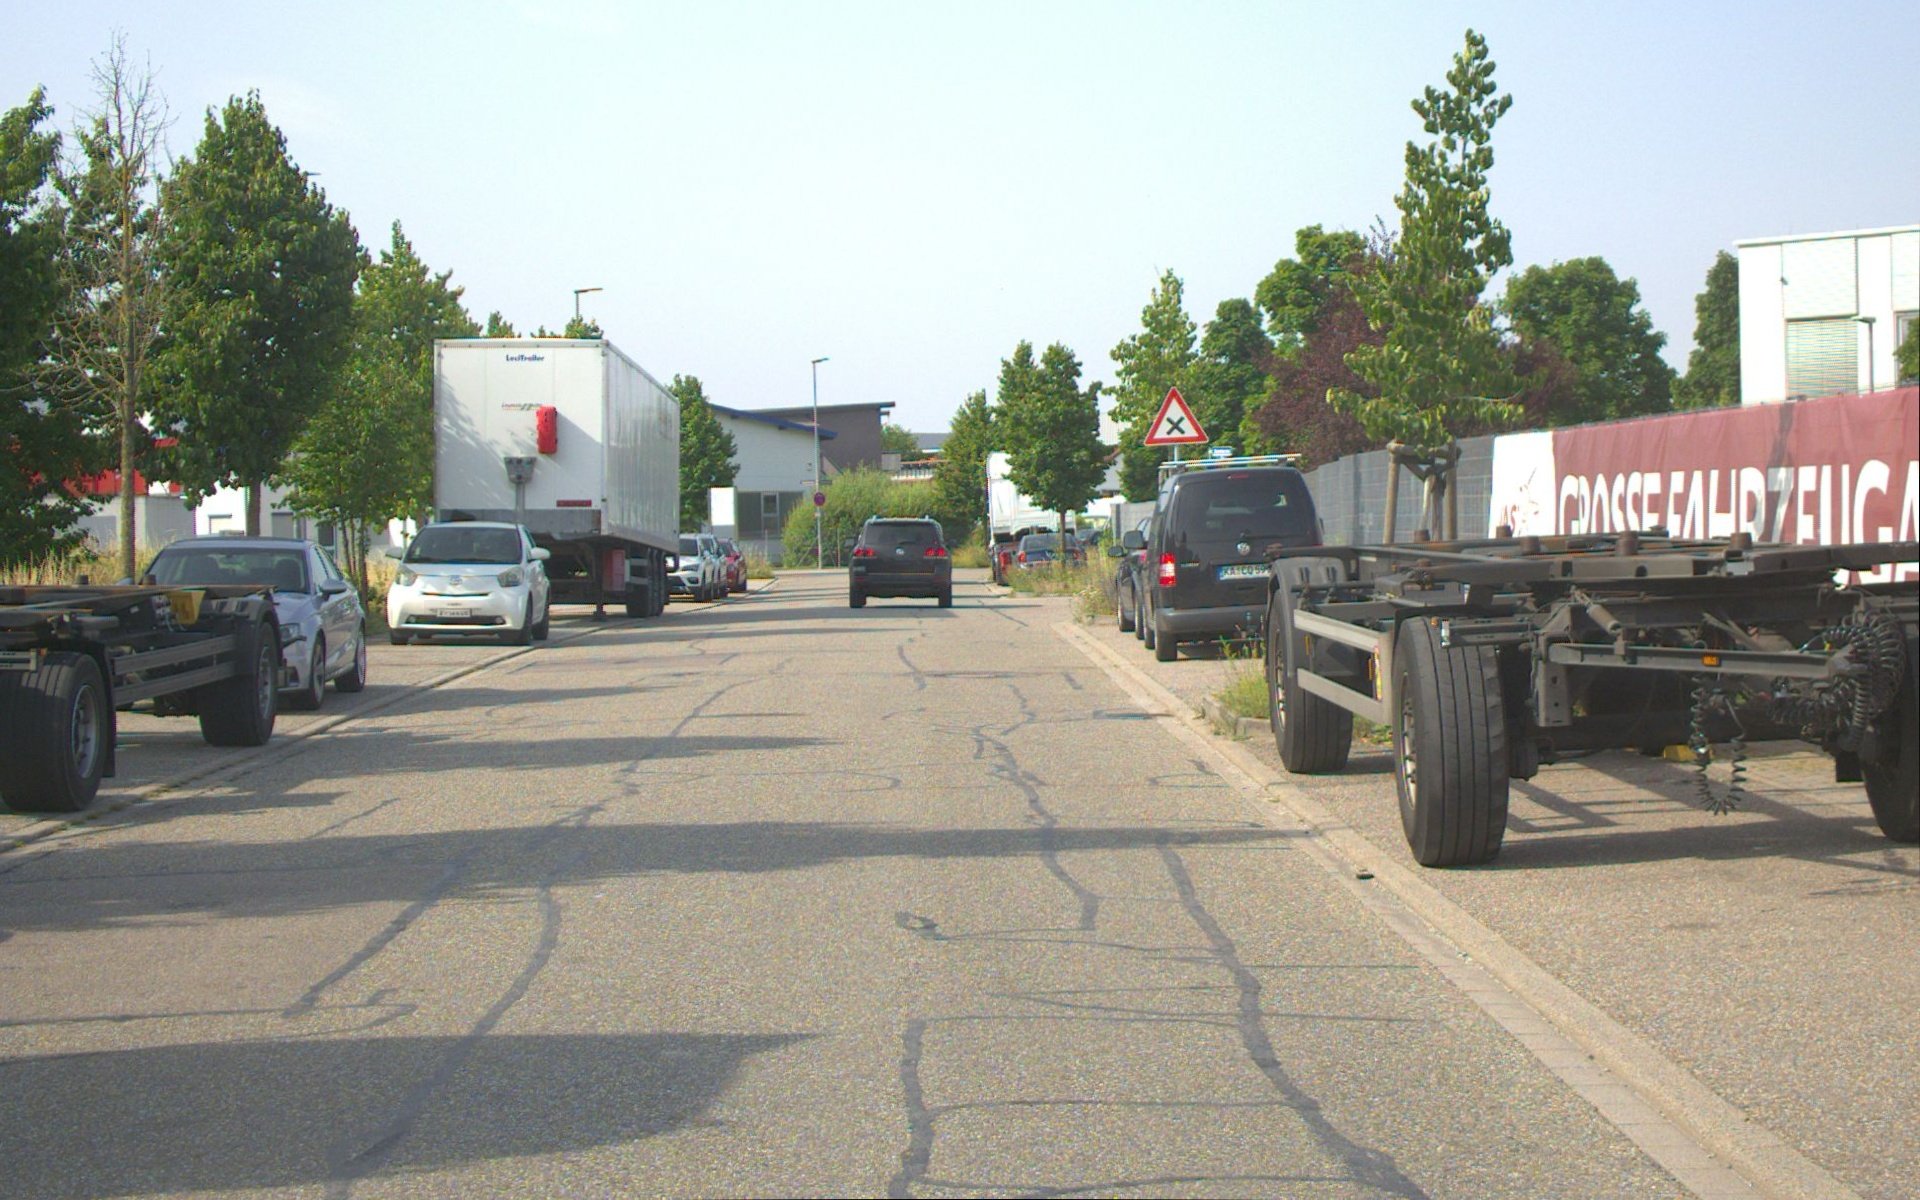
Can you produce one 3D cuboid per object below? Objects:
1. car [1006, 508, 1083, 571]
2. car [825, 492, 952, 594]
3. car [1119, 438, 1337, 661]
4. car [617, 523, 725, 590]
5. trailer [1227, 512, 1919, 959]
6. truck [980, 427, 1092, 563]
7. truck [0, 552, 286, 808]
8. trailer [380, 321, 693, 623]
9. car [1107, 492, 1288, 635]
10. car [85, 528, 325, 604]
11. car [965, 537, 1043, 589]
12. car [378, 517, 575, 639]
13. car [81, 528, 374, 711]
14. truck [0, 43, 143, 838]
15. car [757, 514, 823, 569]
[{"bbox_3d":[2.103,-1.525,85.739,1.818,1.444,3.801,-2,2,1],"label":"car"},{"bbox_3d":[-1.374,-1.102,64.391,1.993,1.798,4.001,-1,2,-6],"label":"car"},{"bbox_3d":[2.614,-0.544,34.315,1.818,1.971,4.000,-4,2,1],"label":"car"},{"bbox_3d":[-6.855,-1.048,81.898,1.994,1.517,4.000,-1,1,3],"label":"car"},{"bbox_3d":[3.032,0.339,16.343,2.623,1.383,9.455,-3,1,-1],"label":"trailer"},{"bbox_3d":[2.143,-2.925,96.607,2.887,3.574,8.062,-2,1,1],"label":"truck"},{"bbox_3d":[-6.087,0.401,21.549,2.524,1.261,6.527,-1,2,-1],"label":"truck"},{"bbox_3d":[-6.703,-2.022,56.975,3.403,4.325,13.920,-1,1,0],"label":"trailer"},{"bbox_3d":[2.700,-0.463,39.818,1.818,1.444,3.801,-4,2,1],"label":"car"},{"bbox_3d":[-13.878,-0.632,63.257,3.988,1.335,1.617,-1,2,7],"label":"car"},{"bbox_3d":[1.583,-1.330,121.218,1.994,1.766,3.998,0,1,12],"label":"car"},{"bbox_3d":[-5.973,-0.308,42.864,1.810,1.422,4.000,-1,1,1],"label":"car"},{"bbox_3d":[-6.209,0.114,29.557,1.884,1.431,4.001,-1,1,-4],"label":"car"},{"bbox_3d":[-6.086,-0.698,13.207,2.626,3.915,12.919,0,1,1],"label":"truck"},{"bbox_3d":[-5.584,-1.931,113.451,1.993,1.766,4.000,-1,1,-1],"label":"car"}]
